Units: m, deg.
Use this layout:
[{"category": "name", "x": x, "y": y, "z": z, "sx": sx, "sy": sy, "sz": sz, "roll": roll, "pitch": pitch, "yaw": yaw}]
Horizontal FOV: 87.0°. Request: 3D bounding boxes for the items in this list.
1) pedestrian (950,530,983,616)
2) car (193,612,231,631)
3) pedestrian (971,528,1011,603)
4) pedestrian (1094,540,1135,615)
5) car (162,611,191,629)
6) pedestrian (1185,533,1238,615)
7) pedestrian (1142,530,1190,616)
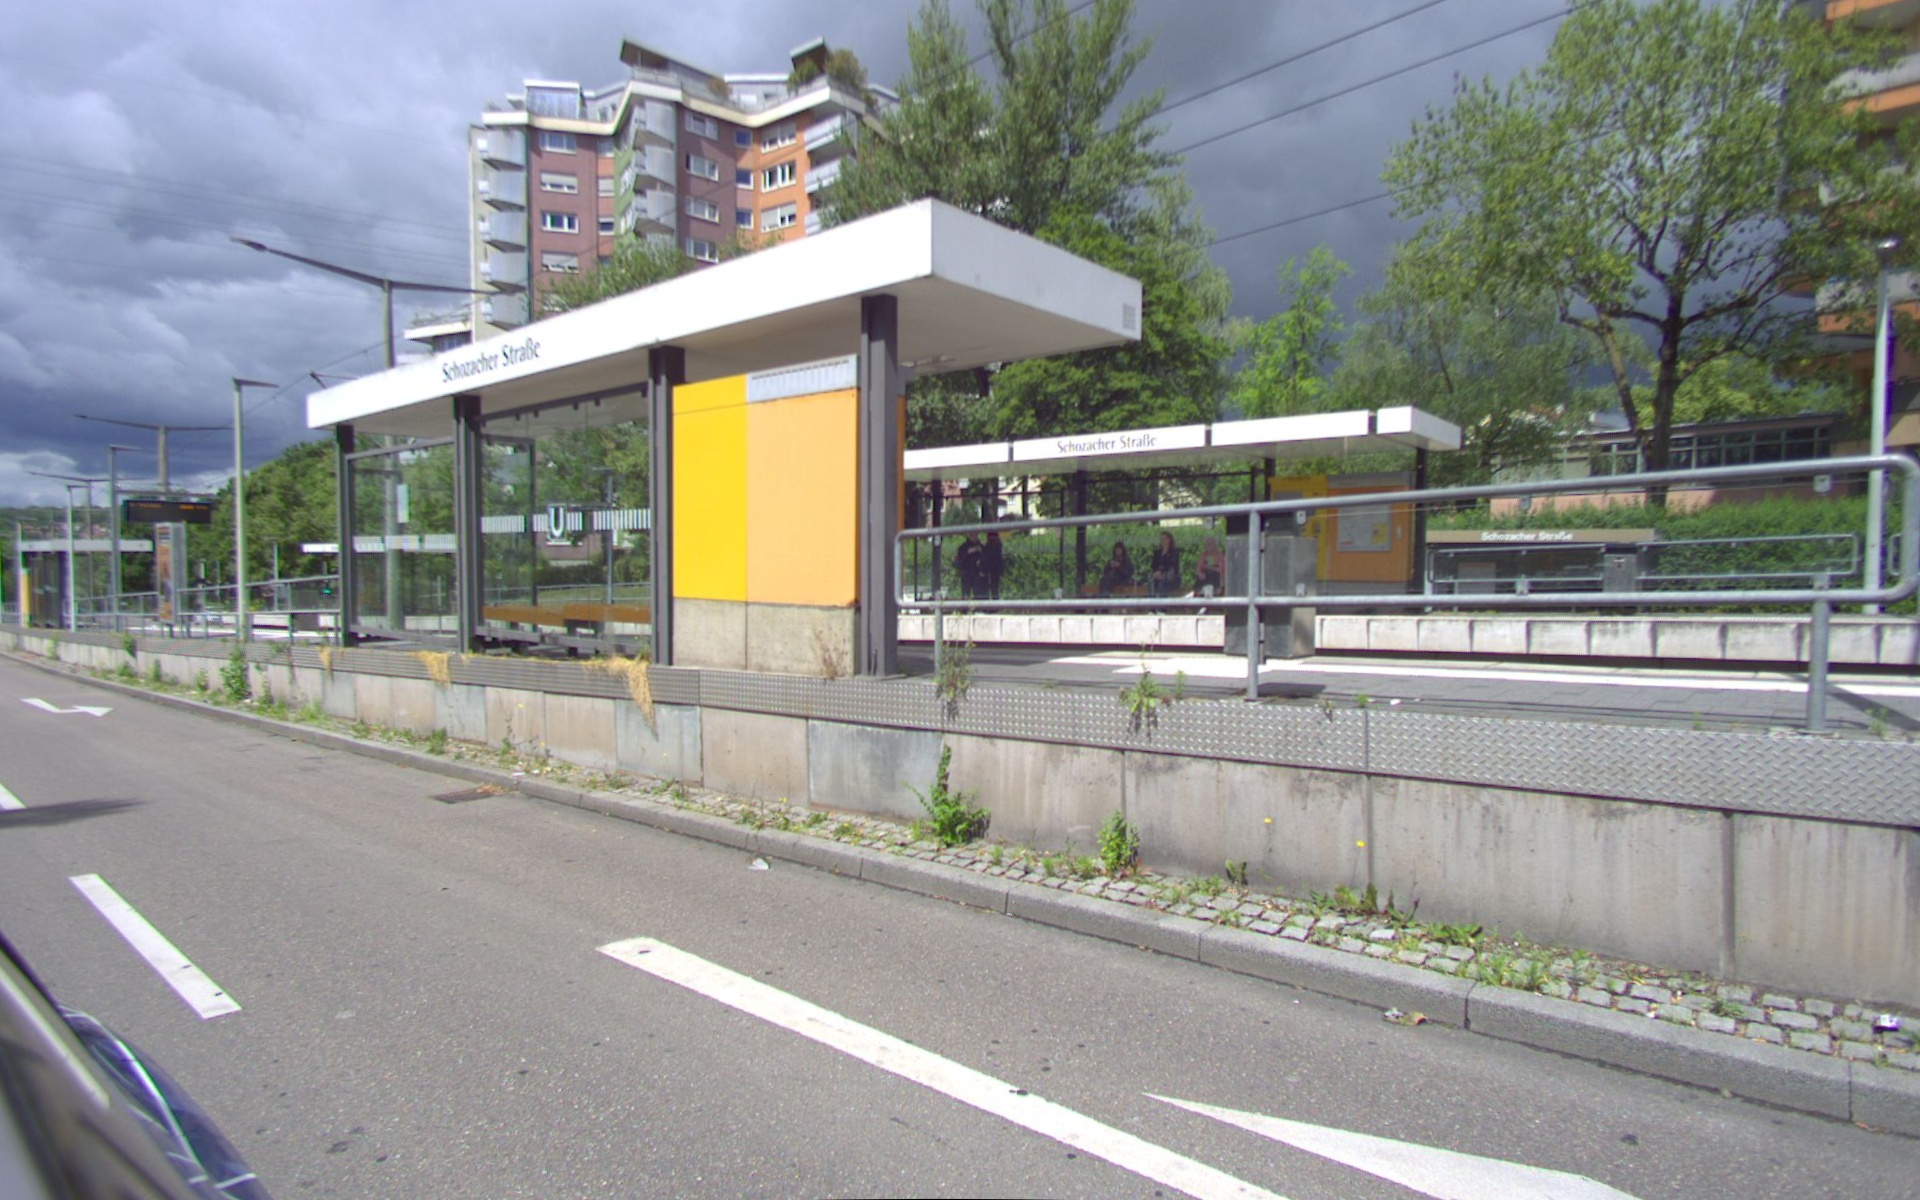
[{"category": "pedestrian", "x": 0.130, "y": -0.520, "z": 19.739, "sx": 0.558, "sy": 1.657, "sz": 0.520, "roll": -1, "pitch": 0, "yaw": 9}, {"category": "car", "x": -59.615, "y": 1.698, "z": 80.662, "sx": 3.999, "sy": 1.429, "sz": 1.637, "roll": -1, "pitch": 0, "yaw": 42}, {"category": "pedestrian", "x": 0.587, "y": -0.646, "z": 19.150, "sx": 0.520, "sy": 1.390, "sz": 0.537, "roll": 2, "pitch": 1, "yaw": 33}, {"category": "pedestrian", "x": 2.621, "y": -0.365, "z": 17.188, "sx": 0.541, "sy": 1.246, "sz": 0.516, "roll": -1, "pitch": 0, "yaw": 29}, {"category": "car", "x": -71.533, "y": 1.813, "z": 92.371, "sx": 1.635, "sy": 1.524, "sz": 3.740, "roll": -1, "pitch": 0, "yaw": -45}, {"category": "pedestrian", "x": 3.974, "y": -0.399, "z": 15.981, "sx": 0.517, "sy": 1.246, "sz": 0.734, "roll": -1, "pitch": -1, "yaw": 41}, {"category": "pedestrian", "x": 3.380, "y": -0.436, "z": 16.606, "sx": 0.506, "sy": 1.379, "sz": 0.637, "roll": -1, "pitch": -1, "yaw": 41}]
